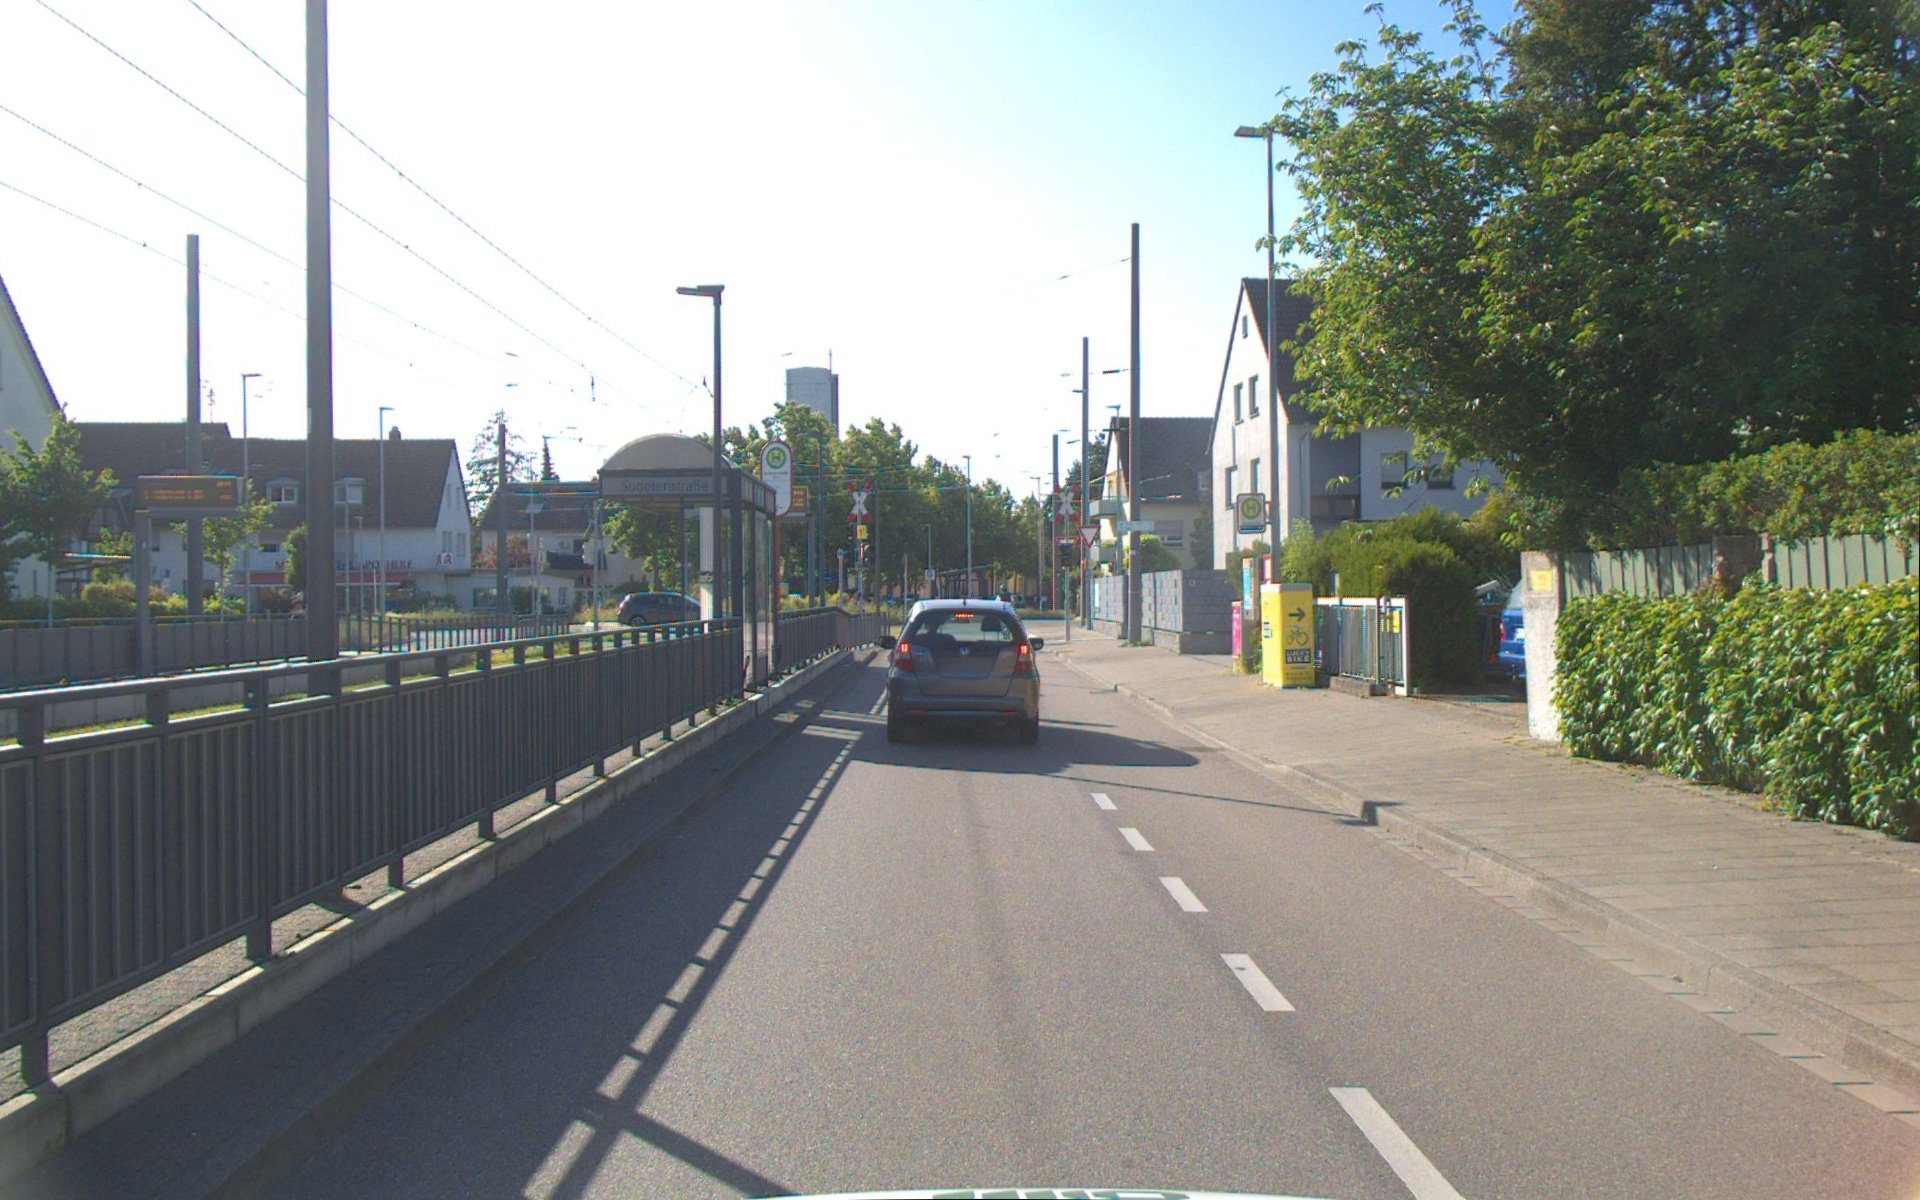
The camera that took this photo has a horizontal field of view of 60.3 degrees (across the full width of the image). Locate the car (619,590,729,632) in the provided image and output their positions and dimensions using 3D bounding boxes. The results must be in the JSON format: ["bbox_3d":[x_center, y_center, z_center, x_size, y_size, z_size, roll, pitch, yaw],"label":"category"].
[{"bbox_3d":[-11.199,0.434,64.955,3.903,1.556,1.809,1,-1,5],"label":"car"}]

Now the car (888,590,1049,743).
[{"bbox_3d":[0.046,0.685,18.825,1.636,1.562,3.486,1,0,-2],"label":"car"}]

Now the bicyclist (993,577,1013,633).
[{"bbox_3d":[1.370,0.162,52.303,0.586,1.731,0.683,1,-1,-1],"label":"bicyclist"}]

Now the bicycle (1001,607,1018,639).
[{"bbox_3d":[1.564,0.717,52.481,0.465,0.978,1.657,1,0,0],"label":"bicycle"}]

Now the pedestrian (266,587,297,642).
[{"bbox_3d":[-22.618,0.480,55.166,0.714,1.793,0.771,-1,0,-3],"label":"pedestrian"}]

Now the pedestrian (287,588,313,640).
[{"bbox_3d":[-22.474,0.473,56.326,0.581,1.763,0.689,-1,0,-3],"label":"pedestrian"}]

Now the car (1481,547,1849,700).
[{"bbox_3d":[8.411,0.255,19.869,3.693,1.597,1.747,-2,0,-11],"label":"car"}]
